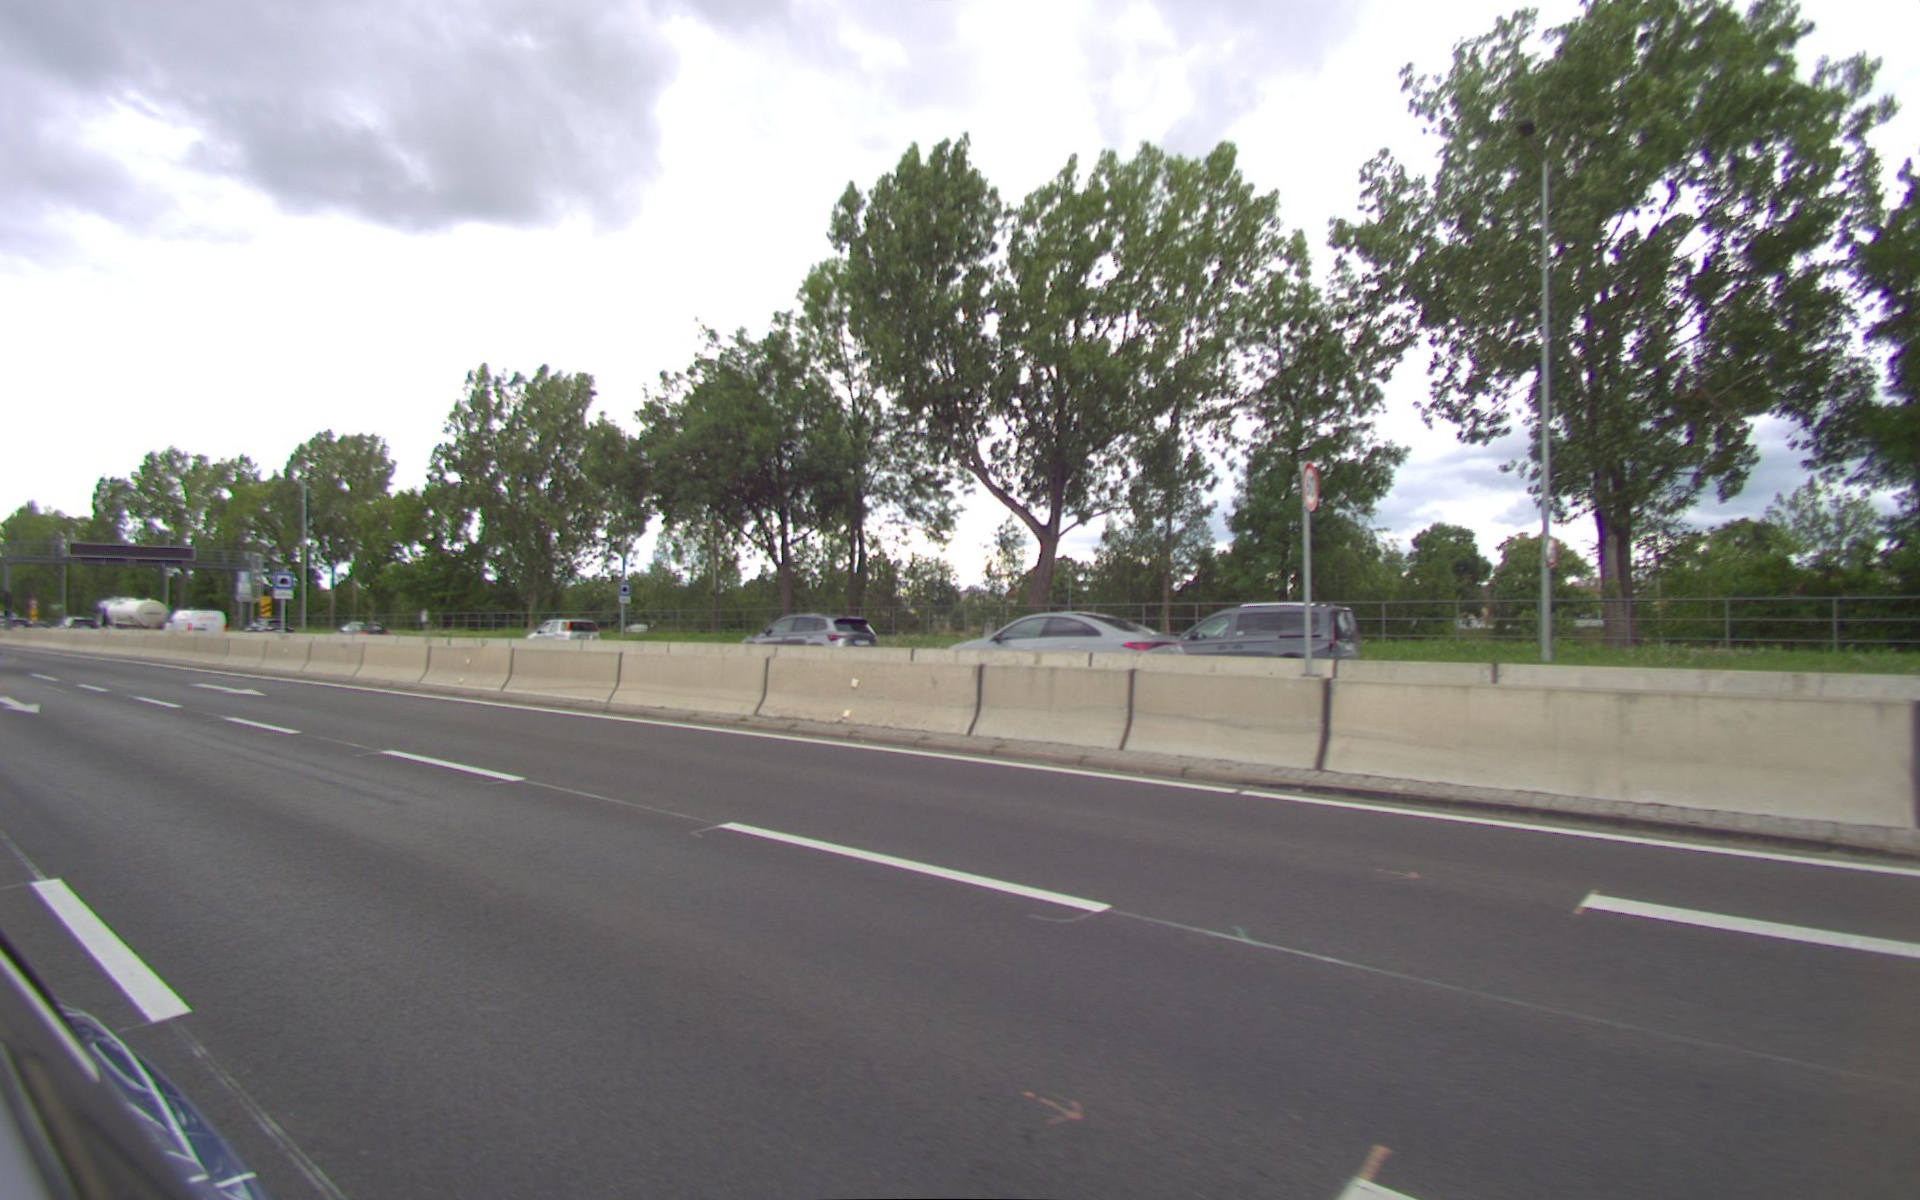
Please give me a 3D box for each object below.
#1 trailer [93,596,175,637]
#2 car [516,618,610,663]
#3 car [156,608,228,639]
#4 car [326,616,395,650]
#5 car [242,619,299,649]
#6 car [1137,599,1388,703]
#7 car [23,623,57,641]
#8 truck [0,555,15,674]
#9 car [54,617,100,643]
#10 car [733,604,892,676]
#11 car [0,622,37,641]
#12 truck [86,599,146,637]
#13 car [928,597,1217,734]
[{"bbox_3d":[-71.169,1.495,87.088,11.654,3.244,3.070,-2,0,39],"label":"trailer"},{"bbox_3d":[-16.272,1.628,41.369,4.120,1.695,1.858,-2,0,41],"label":"car"},{"bbox_3d":[-41.977,1.270,55.263,4.879,1.571,1.974,-2,0,38],"label":"car"},{"bbox_3d":[-33.106,1.806,55.830,4.467,1.752,1.973,-2,0,41],"label":"car"},{"bbox_3d":[-43.847,2.150,64.358,4.301,1.752,1.973,-2,0,41],"label":"car"},{"bbox_3d":[6.598,1.069,22.462,4.934,2.029,1.973,-2,0,41],"label":"car"},{"bbox_3d":[-89.763,3.105,98.741,4.694,1.630,1.973,-2,0,41],"label":"car"},{"bbox_3d":[-28.885,0.489,28.063,8.380,3.106,2.906,-2,0,40],"label":"truck"},{"bbox_3d":[-63.266,2.172,72.478,3.998,1.752,1.973,-2,0,41],"label":"car"},{"bbox_3d":[-3.934,1.014,26.637,4.123,1.695,1.858,-2,0,41],"label":"car"},{"bbox_3d":[-84.856,2.812,91.183,4.694,1.630,1.973,-2,0,41],"label":"car"},{"bbox_3d":[-75.610,1.629,90.639,5.384,3.243,3.069,-2,0,38],"label":"truck"},{"bbox_3d":[1.849,1.046,17.618,4.679,2.029,1.973,-2,0,41],"label":"car"}]
